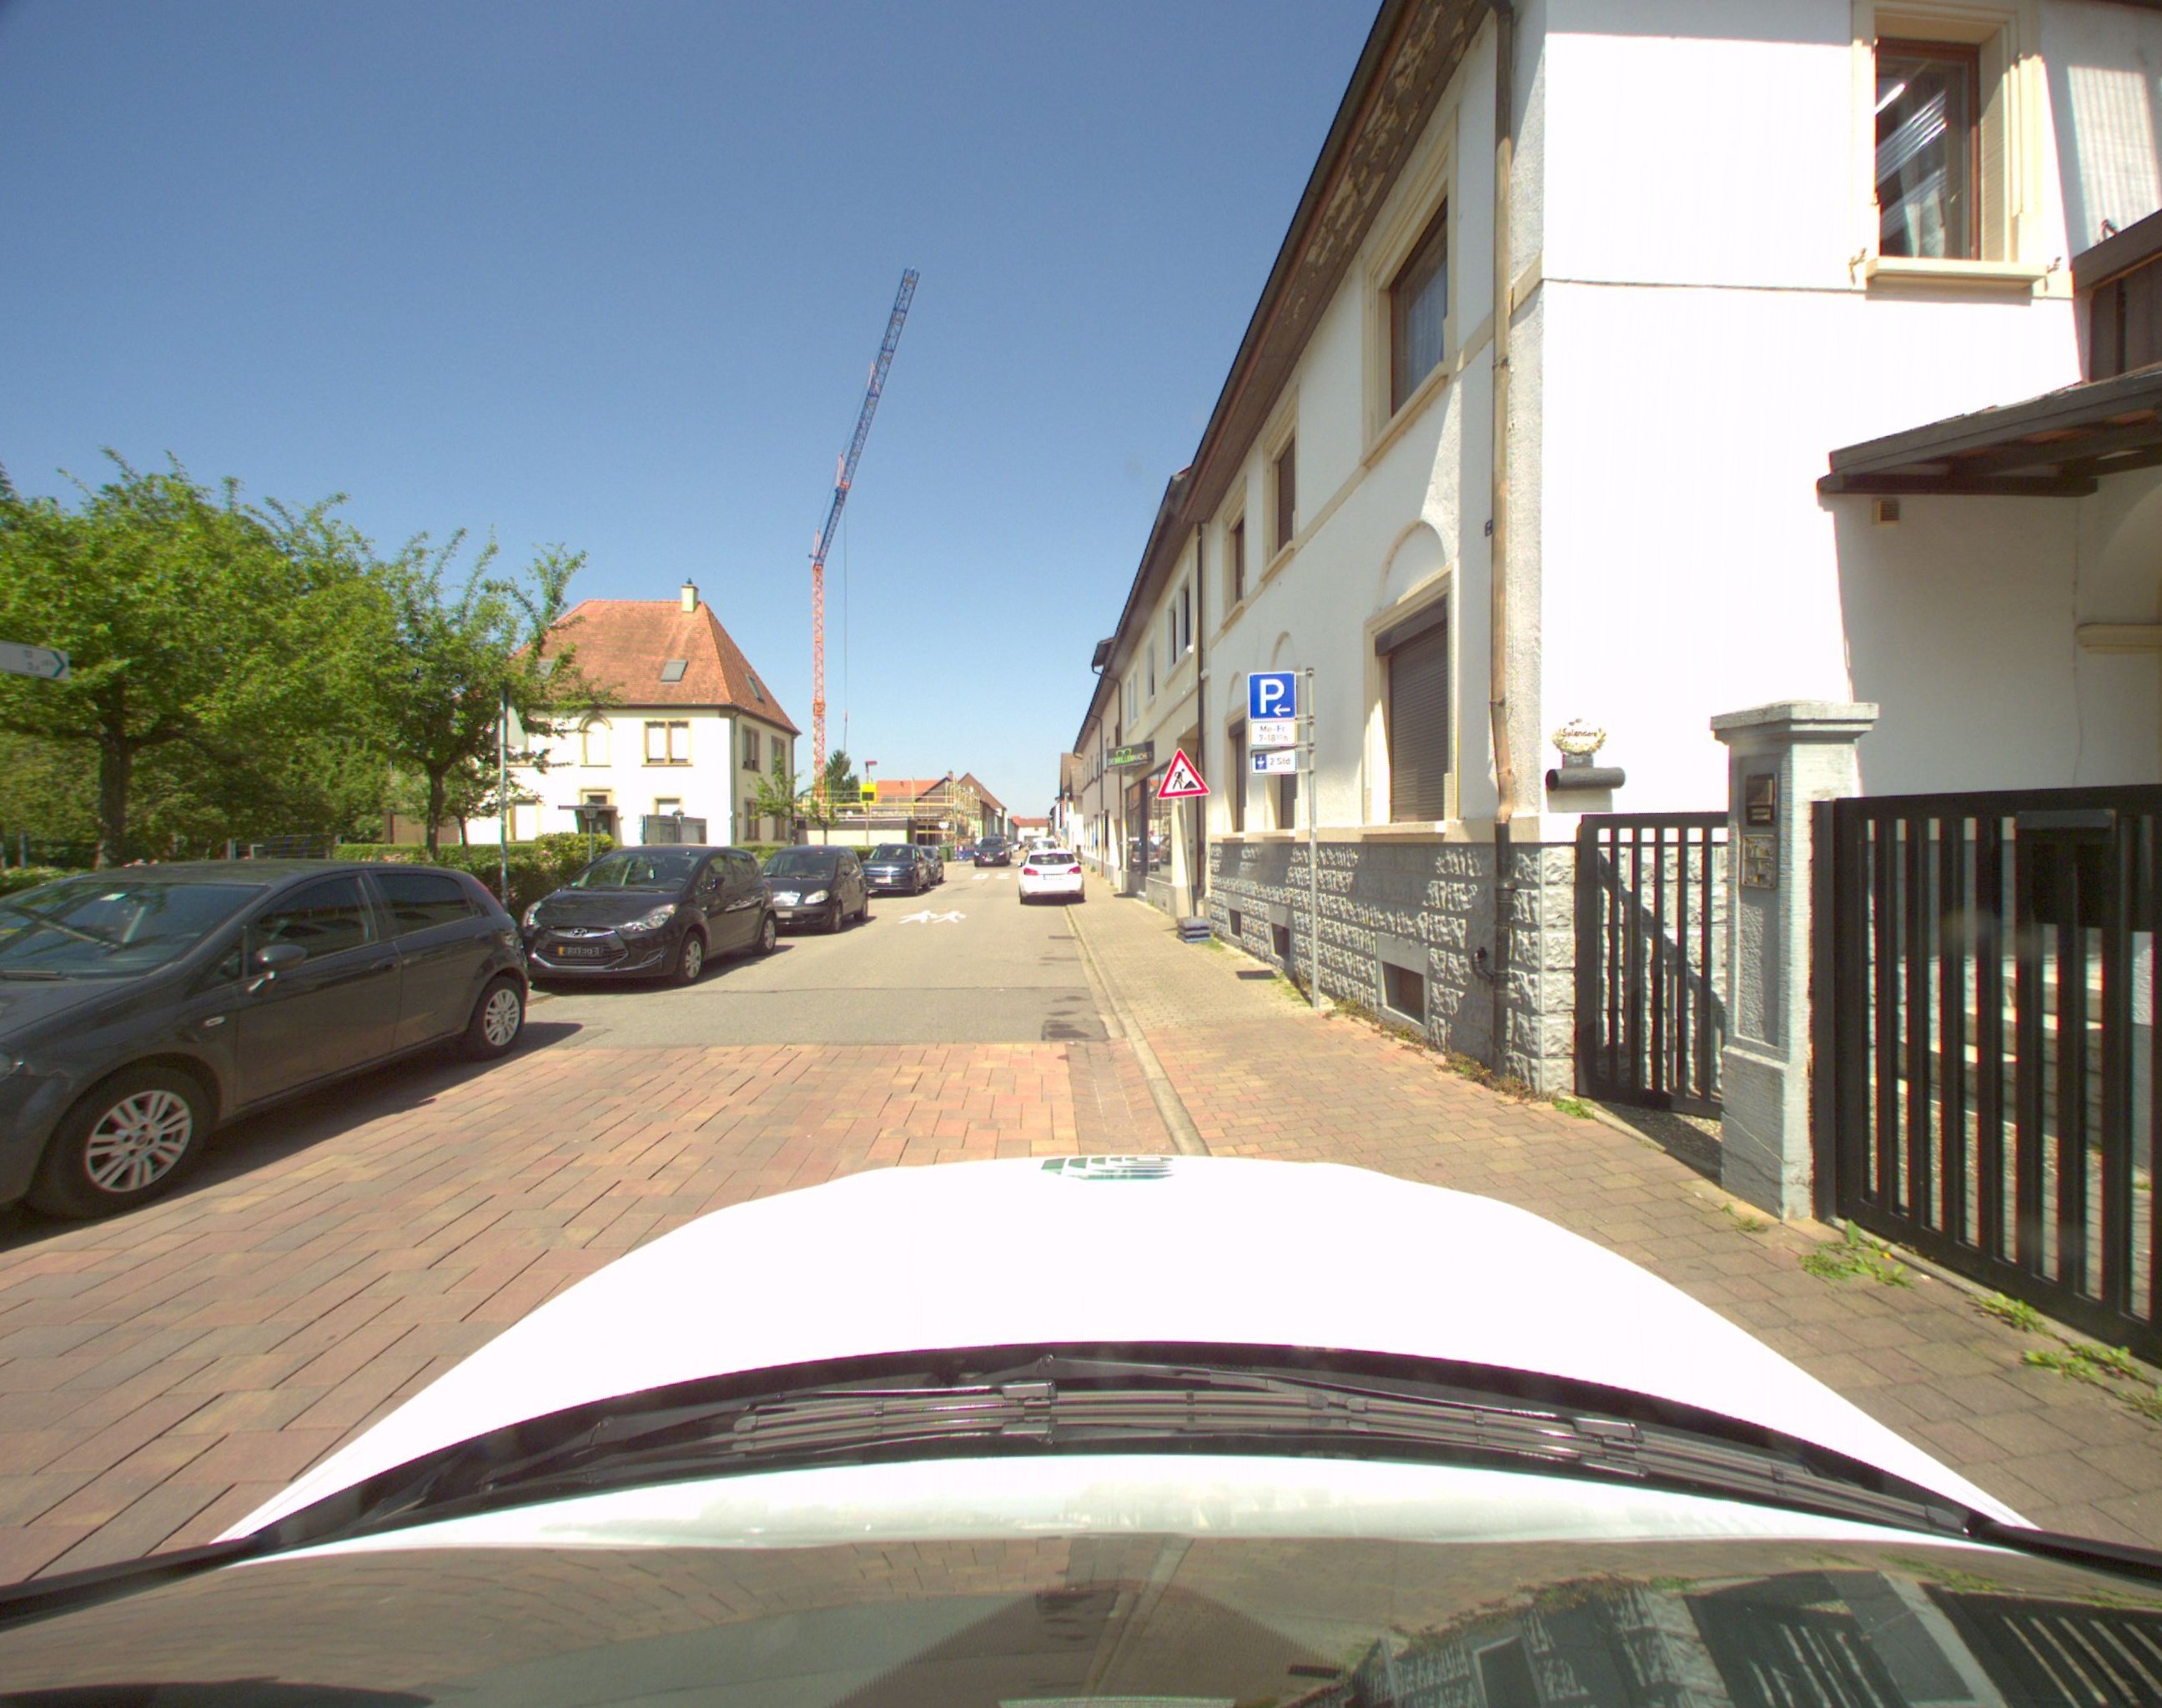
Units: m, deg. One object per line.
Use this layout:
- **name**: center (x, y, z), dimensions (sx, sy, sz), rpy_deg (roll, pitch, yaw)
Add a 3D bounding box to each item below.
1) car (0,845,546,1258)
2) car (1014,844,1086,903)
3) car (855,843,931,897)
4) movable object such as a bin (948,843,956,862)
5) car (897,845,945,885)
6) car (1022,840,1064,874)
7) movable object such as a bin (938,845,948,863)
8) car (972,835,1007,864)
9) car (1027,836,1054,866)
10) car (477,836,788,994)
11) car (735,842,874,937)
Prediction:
- **car**: center (-4.974, 0.709, 4.561), dimensions (1.700, 1.496, 3.849), rpy_deg (-1, 1, -6)
- **car**: center (-0.929, 0.485, 23.526), dimensions (1.882, 1.542, 4.238), rpy_deg (-1, 1, -3)
- **car**: center (-6.082, 0.458, 26.848), dimensions (1.823, 1.630, 4.210), rpy_deg (-1, 1, -5)
- **movable object such as a bin**: center (-8.226, -0.103, 51.888), dimensions (0.432, 1.155, 0.363), rpy_deg (-1, 1, -13)
- **car**: center (-6.308, 0.392, 32.409), dimensions (1.434, 1.474, 3.781), rpy_deg (-1, 1, -4)
- **car**: center (-2.062, 0.113, 43.281), dimensions (1.882, 1.556, 3.887), rpy_deg (-4, 1, -6)
- **movable object such as a bin**: center (-8.726, -0.007, 51.362), dimensions (0.622, 1.155, 0.675), rpy_deg (-1, 1, -10)
- **car**: center (-5.381, -0.290, 48.297), dimensions (1.878, 1.668, 4.147), rpy_deg (-1, 1, -5)
- **car**: center (-2.427, -0.196, 48.439), dimensions (1.561, 1.612, 3.539), rpy_deg (0, 3, -3)
- **car**: center (-5.351, 0.595, 10.424), dimensions (1.810, 1.604, 4.022), rpy_deg (0, 1, -2)
- **car**: center (-5.295, 0.583, 16.083), dimensions (1.634, 1.628, 3.763), rpy_deg (-1, 1, -4)
